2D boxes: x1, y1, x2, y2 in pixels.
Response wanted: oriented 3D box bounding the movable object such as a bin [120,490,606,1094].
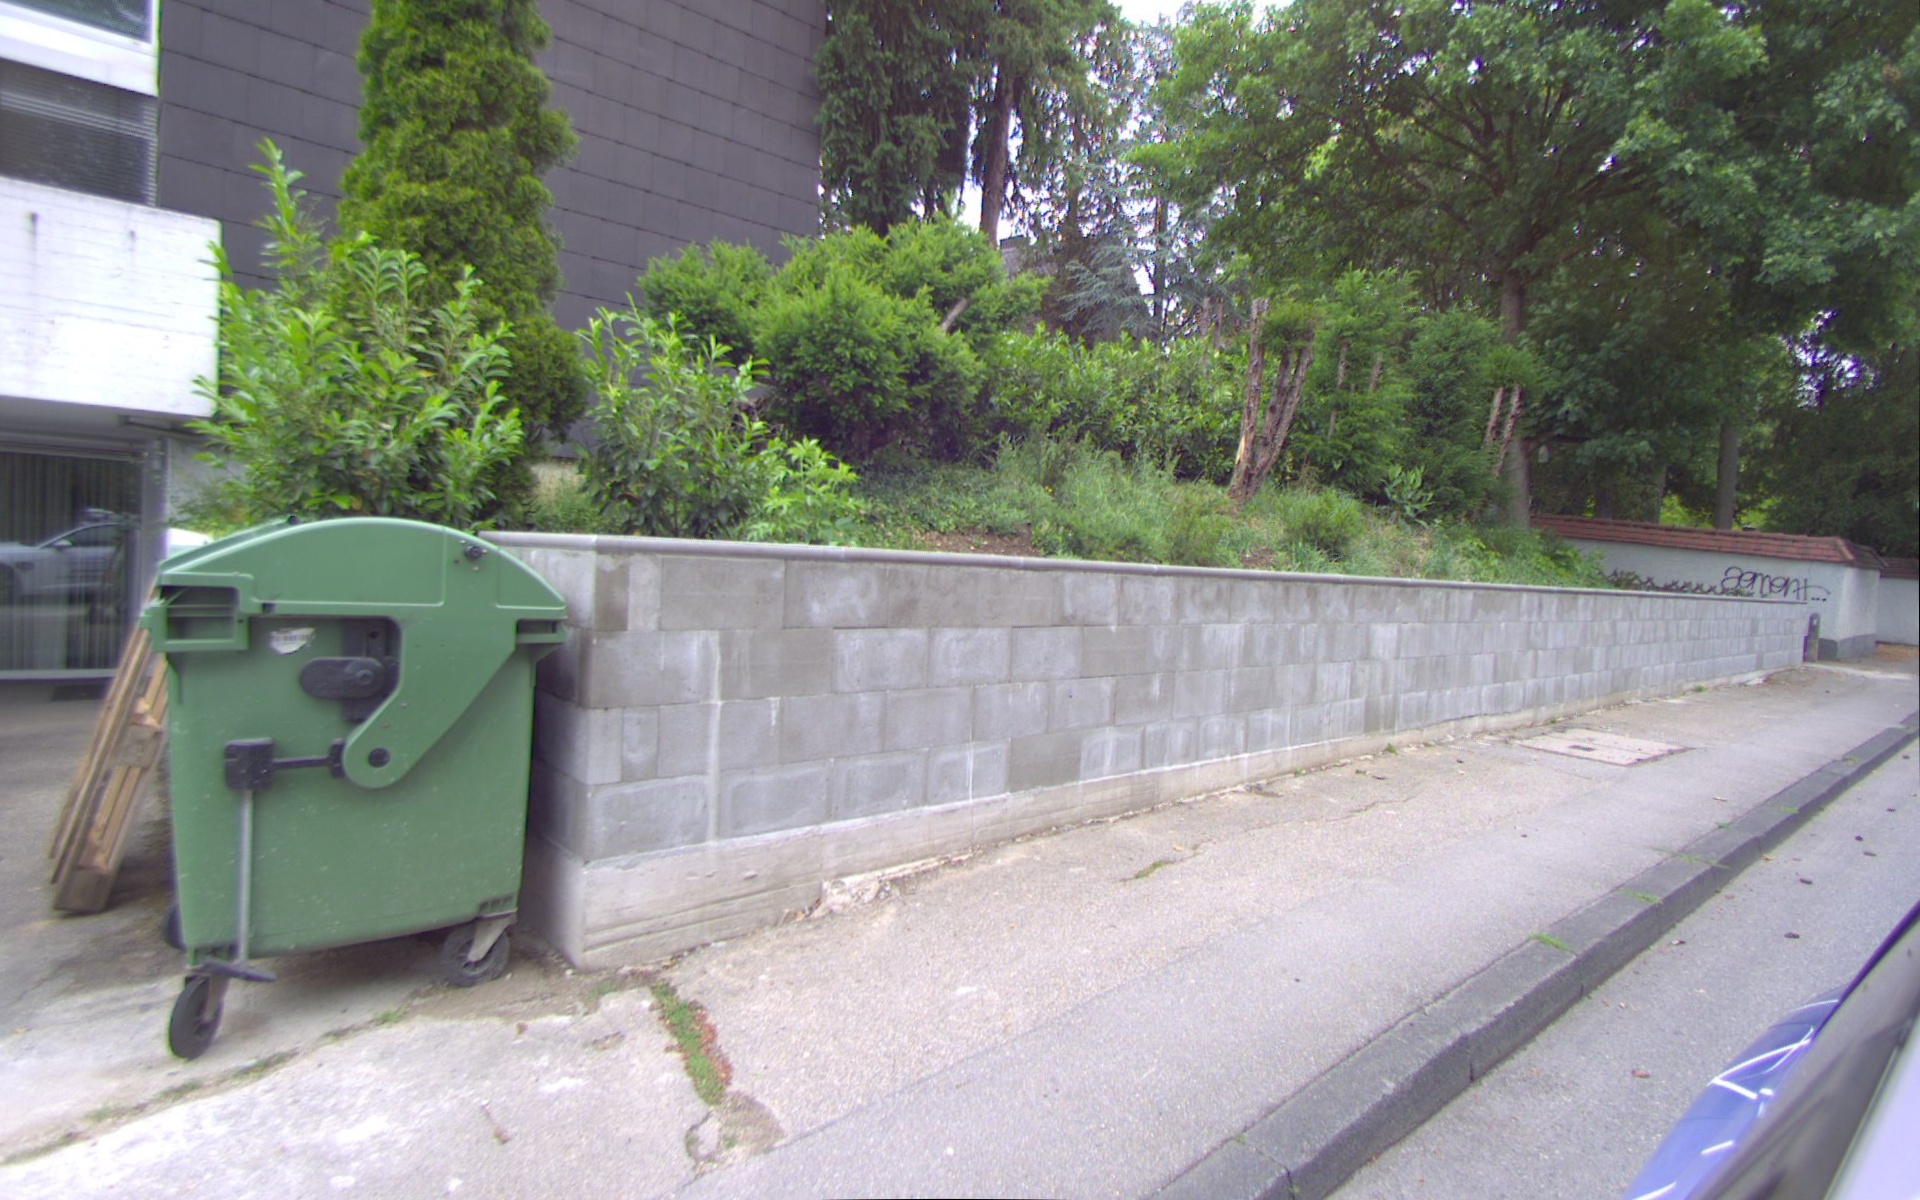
[{"bbox_3d":[-1.989,0.420,3.309,1.160,1.468,1.303,0,4,-40],"label":"movable object such as a bin"}]
